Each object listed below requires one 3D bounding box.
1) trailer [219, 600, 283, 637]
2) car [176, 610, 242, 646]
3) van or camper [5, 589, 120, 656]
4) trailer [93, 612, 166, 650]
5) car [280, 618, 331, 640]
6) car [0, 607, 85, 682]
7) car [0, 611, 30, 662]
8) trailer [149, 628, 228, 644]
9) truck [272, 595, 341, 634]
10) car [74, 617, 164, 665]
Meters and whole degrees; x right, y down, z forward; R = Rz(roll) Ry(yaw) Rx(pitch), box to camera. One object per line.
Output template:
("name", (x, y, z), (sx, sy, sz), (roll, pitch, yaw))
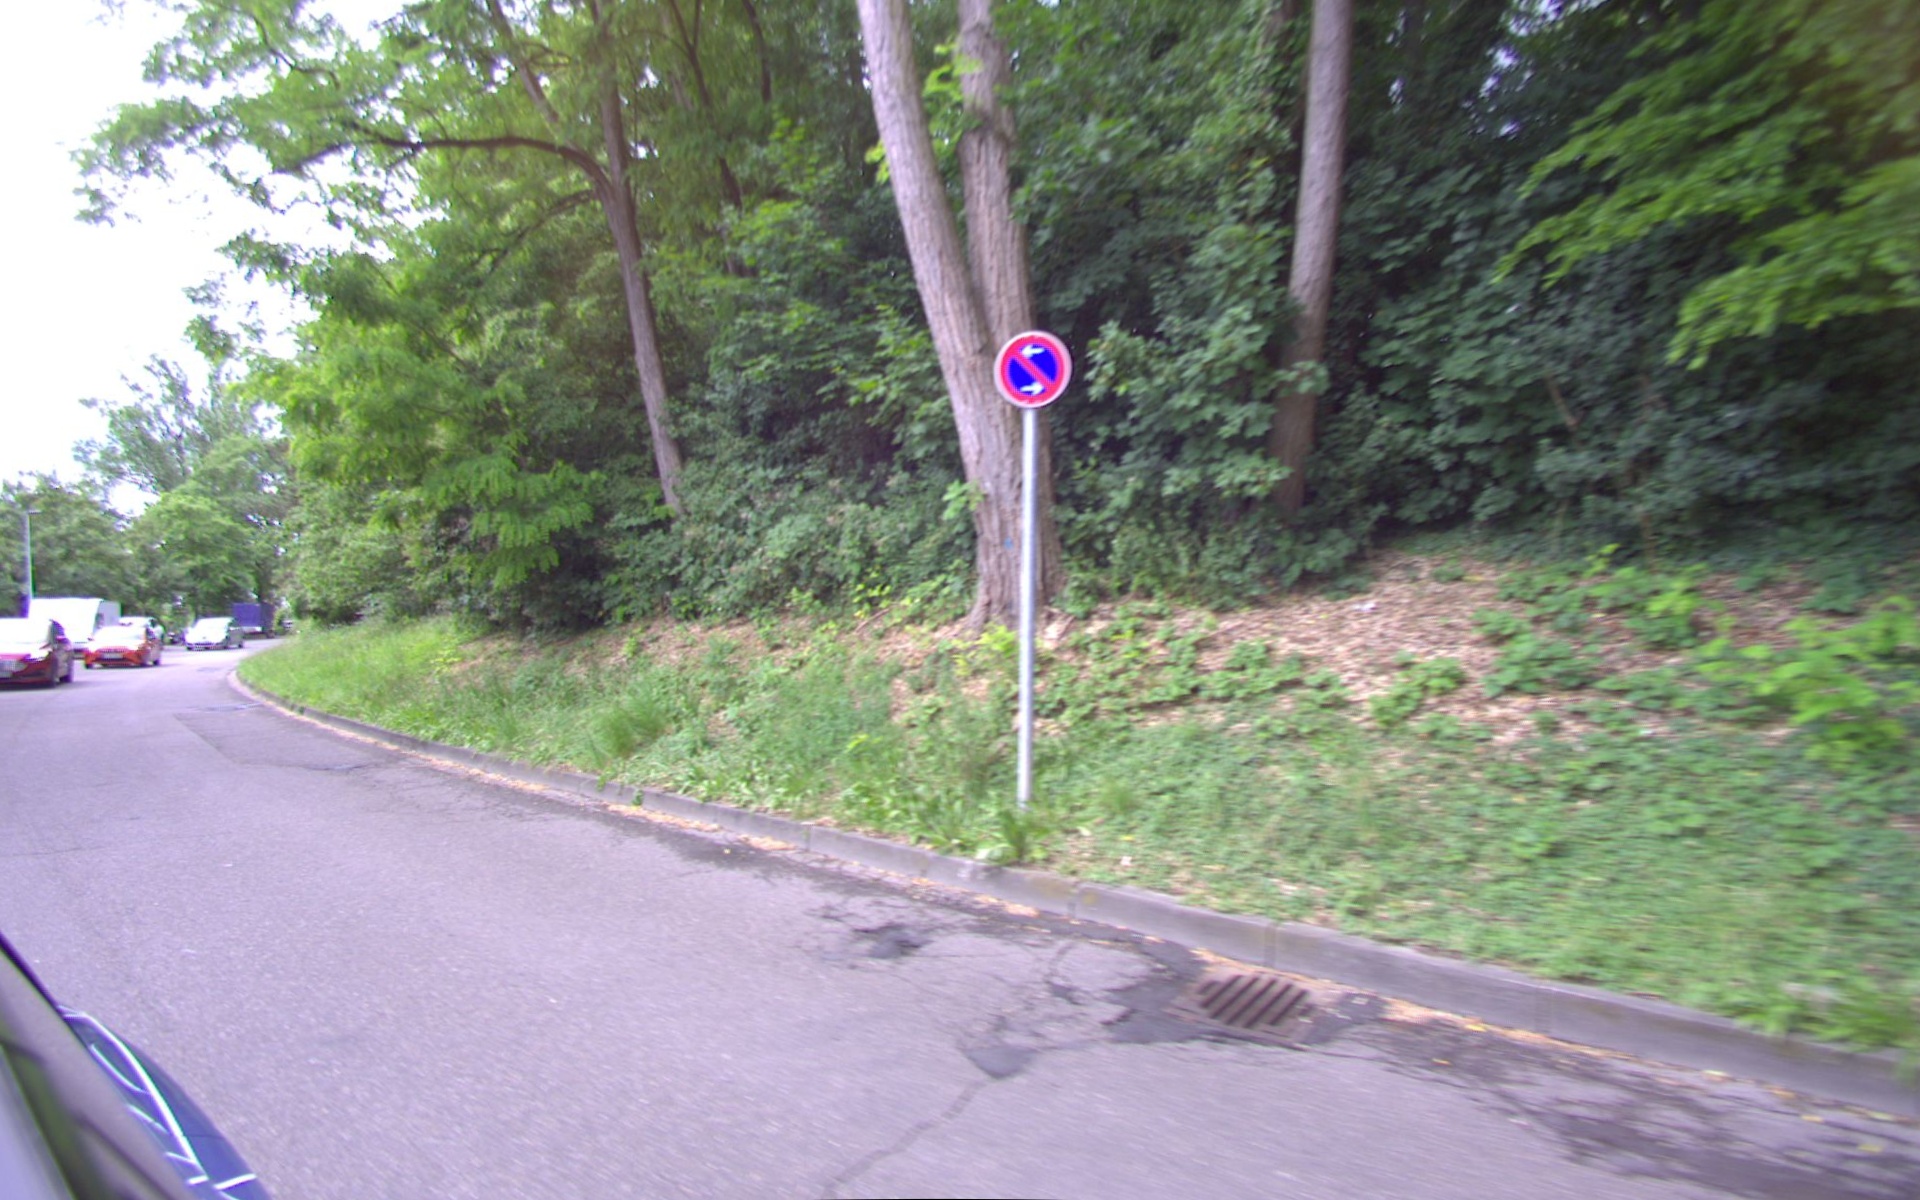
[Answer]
("trailer", (-48.201, 1.283, 68.901), (2.077, 2.380, 4.714), (1, -3, -16))
("car", (-39.084, 1.443, 52.779), (1.891, 1.694, 4.013), (1, 0, -24))
("van or camper", (-37.501, 0.876, 42.483), (2.131, 2.555, 6.051), (-1, 0, -27))
("trailer", (-41.563, 1.513, 50.754), (1.747, 1.744, 4.666), (1, 0, -25))
("car", (-45.499, 2.020, 70.412), (1.775, 1.501, 4.011), (0, -1, -15))
("car", (-22.697, 1.015, 24.163), (1.966, 1.641, 4.639), (-1, 0, -31))
("car", (-32.563, 1.199, 33.482), (1.823, 1.655, 4.543), (0, -1, -32))
("trailer", (-44.595, 2.047, 58.671), (2.074, 0.656, 6.422), (-1, 0, -23))
("truck", (-51.205, 1.120, 79.499), (2.273, 2.955, 7.052), (0, 0, -13))
("car", (-29.752, 1.417, 35.943), (1.836, 1.459, 4.188), (1, 0, -31))
